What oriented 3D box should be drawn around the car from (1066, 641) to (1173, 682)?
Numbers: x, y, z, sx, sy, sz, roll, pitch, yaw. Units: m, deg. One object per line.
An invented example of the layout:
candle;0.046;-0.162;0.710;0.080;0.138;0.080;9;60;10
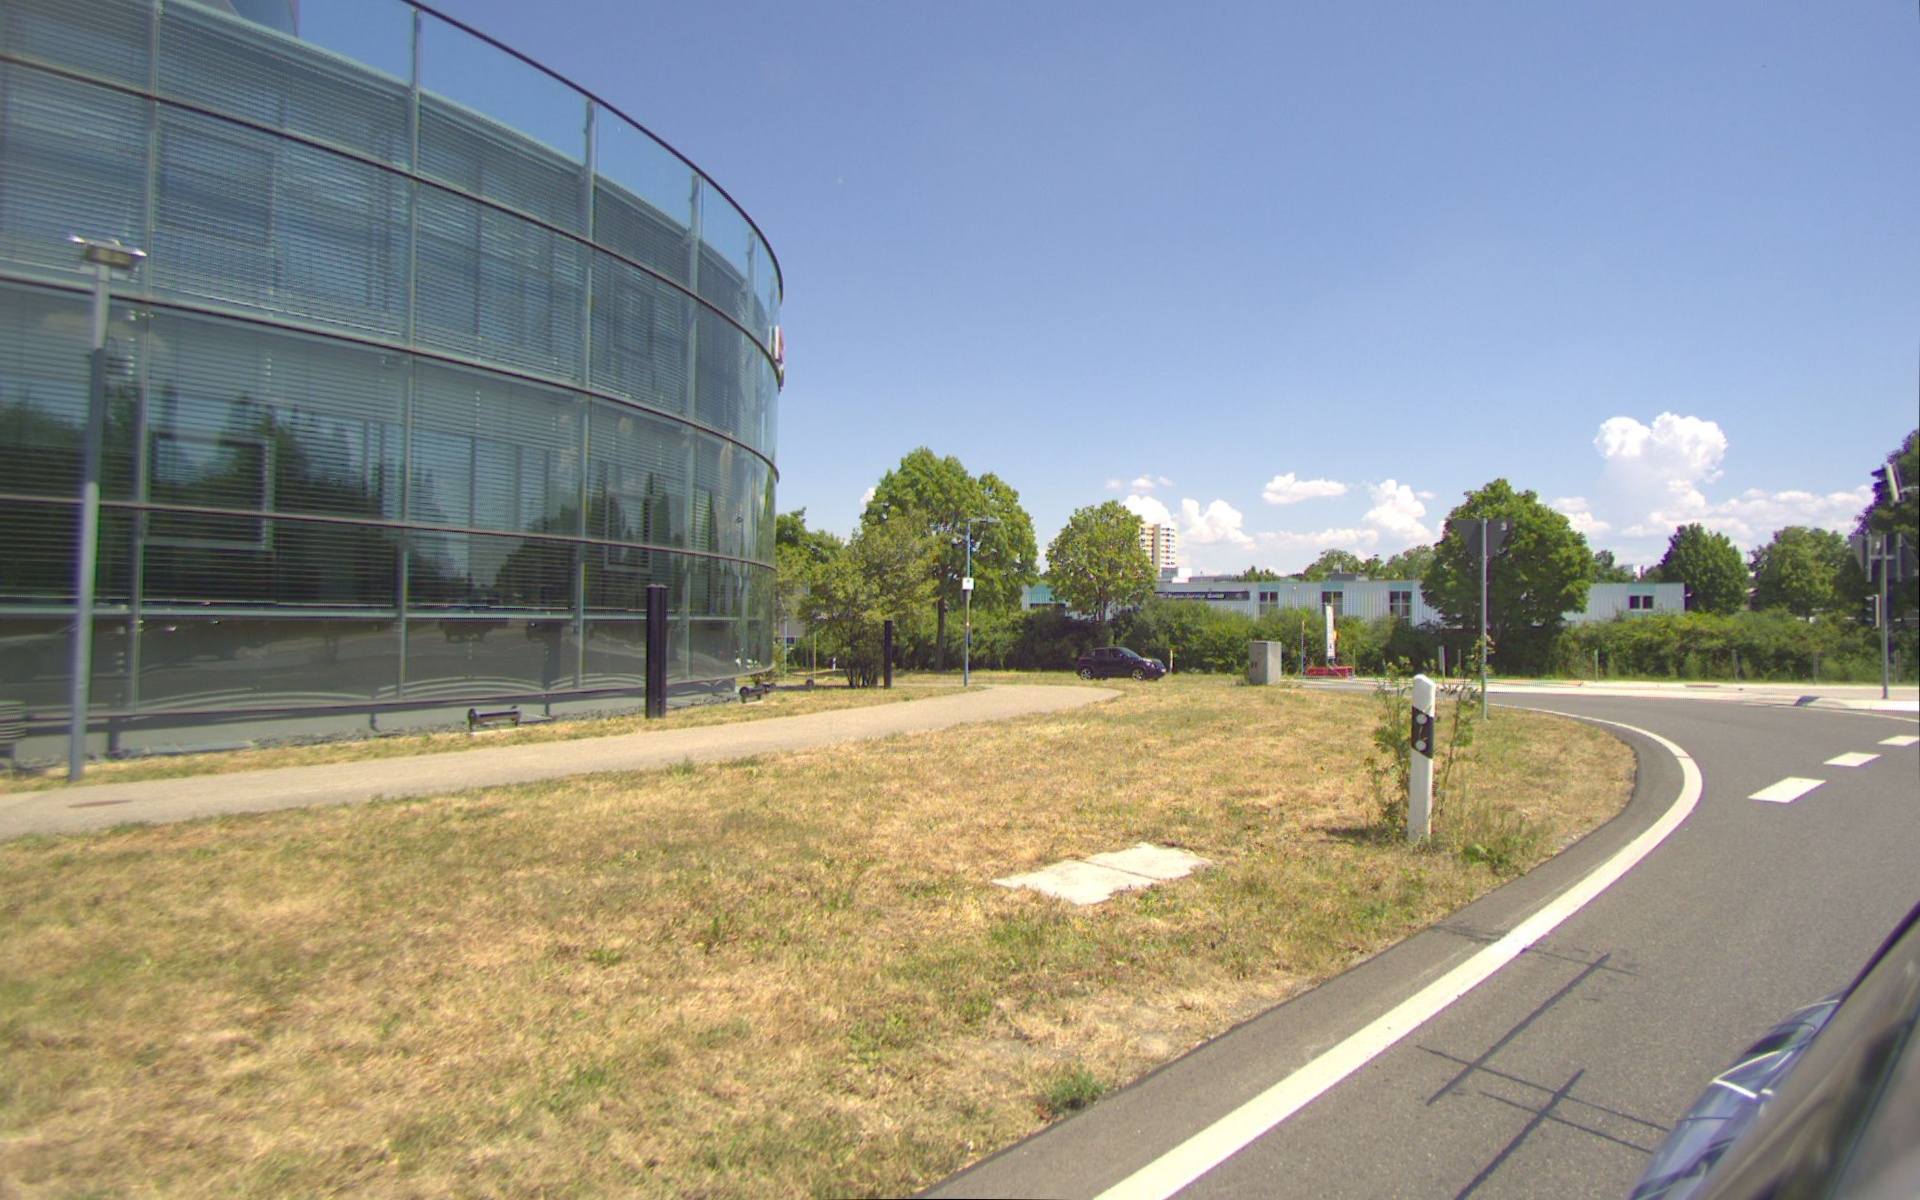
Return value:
car;7.069;2.689;44.926;4.322;1.620;1.915;0;-2;33
